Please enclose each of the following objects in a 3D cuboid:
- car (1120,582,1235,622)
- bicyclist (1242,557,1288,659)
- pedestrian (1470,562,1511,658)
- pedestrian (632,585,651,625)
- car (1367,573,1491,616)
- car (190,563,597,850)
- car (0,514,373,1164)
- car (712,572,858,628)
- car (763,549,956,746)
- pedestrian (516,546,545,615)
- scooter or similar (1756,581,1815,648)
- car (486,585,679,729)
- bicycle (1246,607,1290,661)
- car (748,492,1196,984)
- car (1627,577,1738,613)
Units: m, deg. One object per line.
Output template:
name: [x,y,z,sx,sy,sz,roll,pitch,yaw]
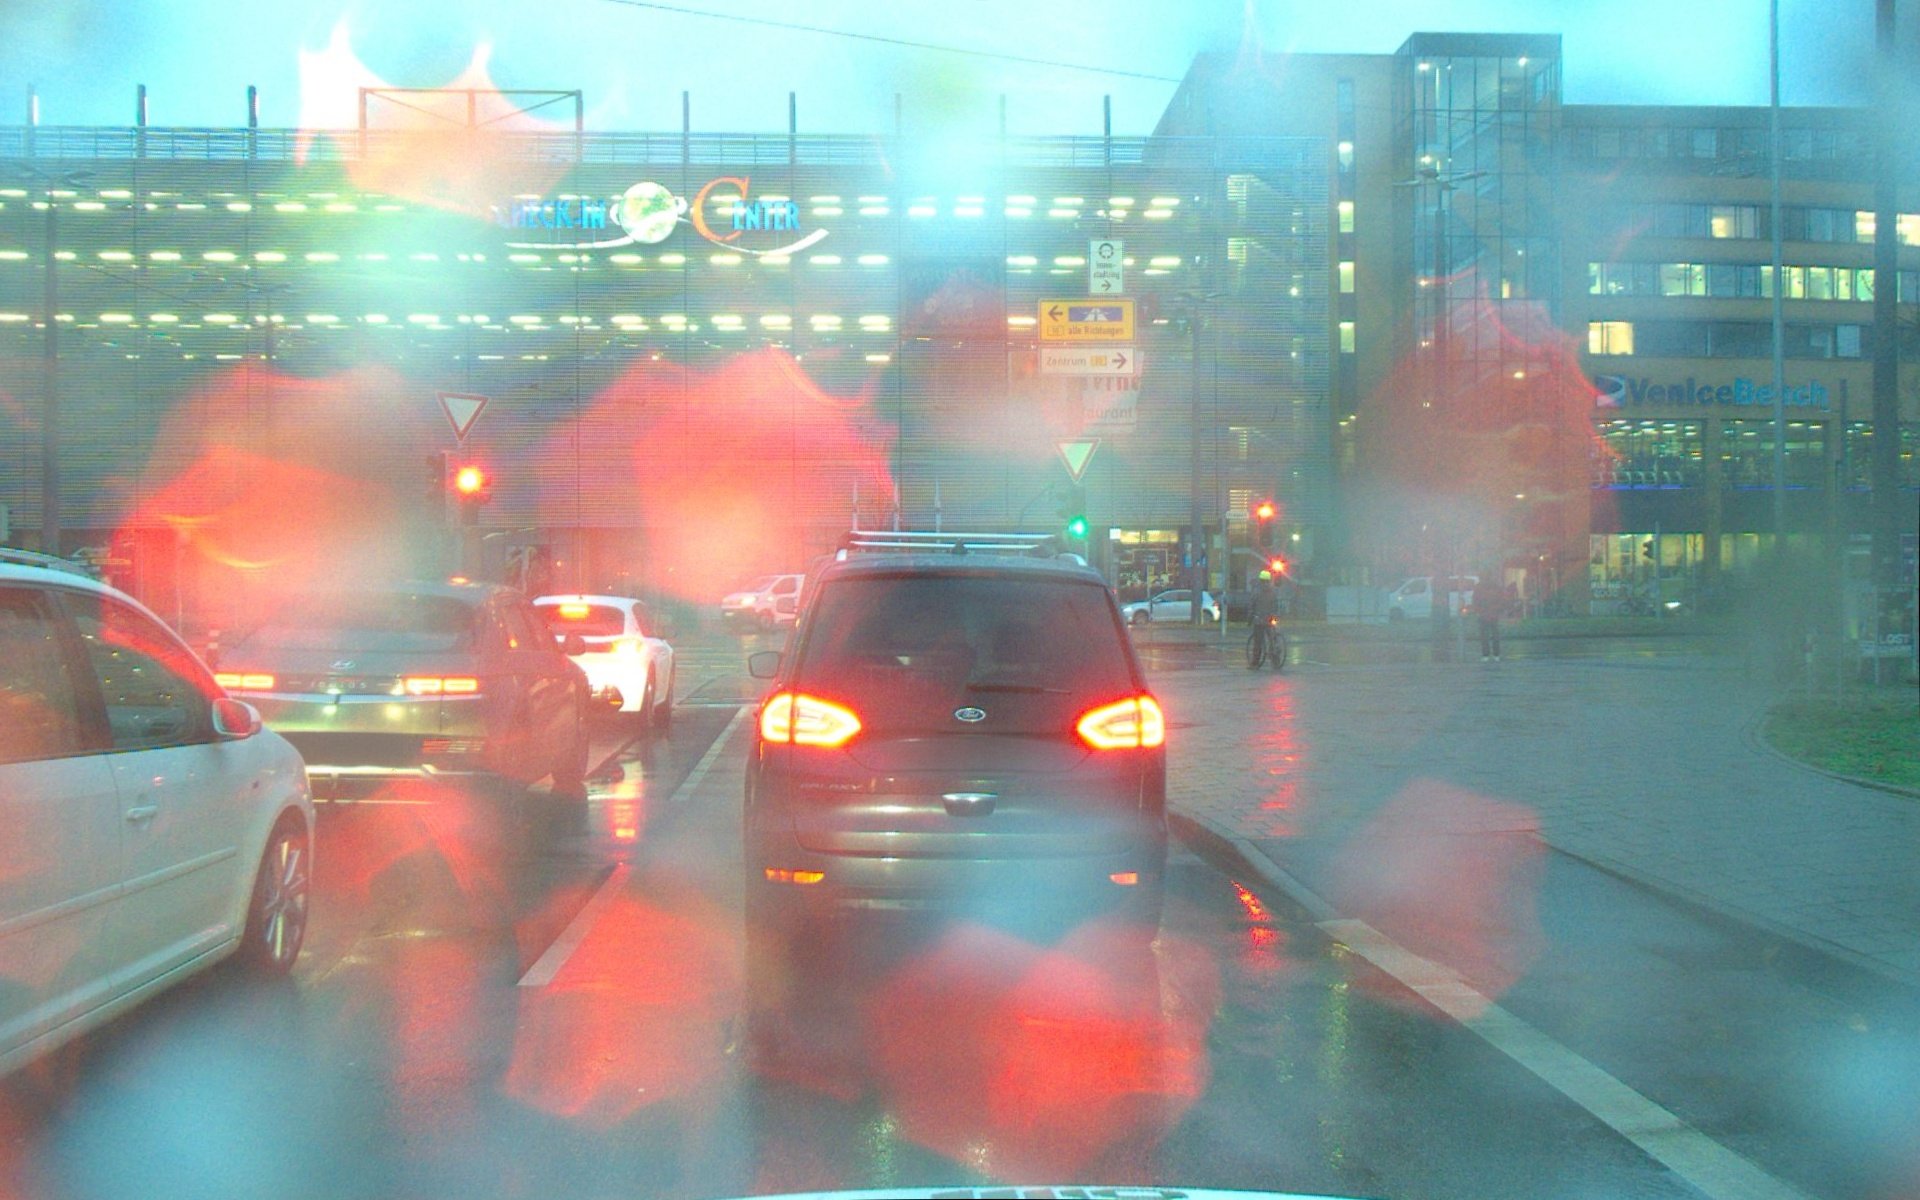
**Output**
car: [8.662,0.066,66.086,4.245,1.512,1.863,0,0,-7]
bicyclist: [5.850,0.148,31.790,0.774,1.923,0.990,0,0,5]
pedestrian: [10.749,0.203,33.505,0.757,1.910,0.635,0,0,22]
pedestrian: [-14.719,0.233,76.472,0.772,1.818,0.732,0,0,-6]
car: [19.012,-0.236,67.094,4.553,1.707,1.782,-1,0,-10]
car: [-3.674,0.582,11.539,1.786,1.597,4.355,0,0,-7]
car: [-3.259,0.588,4.998,1.638,1.627,4.220,1,0,-3]
car: [-6.141,-0.025,58.308,4.912,1.904,1.879,-1,0,-38]
car: [-1.126,0.420,17.767,1.807,1.837,4.482,0,0,-5]
pedestrian: [-18.772,-0.839,72.321,0.943,2.976,1.113,1,-1,-1]
scooter or similar: [15.435,0.263,30.921,1.290,1.227,0.331,0,0,-30]
car: [-4.263,0.585,19.209,1.724,1.489,3.912,0,0,-6]
bicycle: [5.924,0.637,31.850,0.641,0.990,1.867,0,0,5]
car: [0.008,0.513,8.215,1.640,1.810,3.999,2,0,-1]
car: [30.595,-0.236,70.067,4.340,1.470,1.621,-1,0,-18]
